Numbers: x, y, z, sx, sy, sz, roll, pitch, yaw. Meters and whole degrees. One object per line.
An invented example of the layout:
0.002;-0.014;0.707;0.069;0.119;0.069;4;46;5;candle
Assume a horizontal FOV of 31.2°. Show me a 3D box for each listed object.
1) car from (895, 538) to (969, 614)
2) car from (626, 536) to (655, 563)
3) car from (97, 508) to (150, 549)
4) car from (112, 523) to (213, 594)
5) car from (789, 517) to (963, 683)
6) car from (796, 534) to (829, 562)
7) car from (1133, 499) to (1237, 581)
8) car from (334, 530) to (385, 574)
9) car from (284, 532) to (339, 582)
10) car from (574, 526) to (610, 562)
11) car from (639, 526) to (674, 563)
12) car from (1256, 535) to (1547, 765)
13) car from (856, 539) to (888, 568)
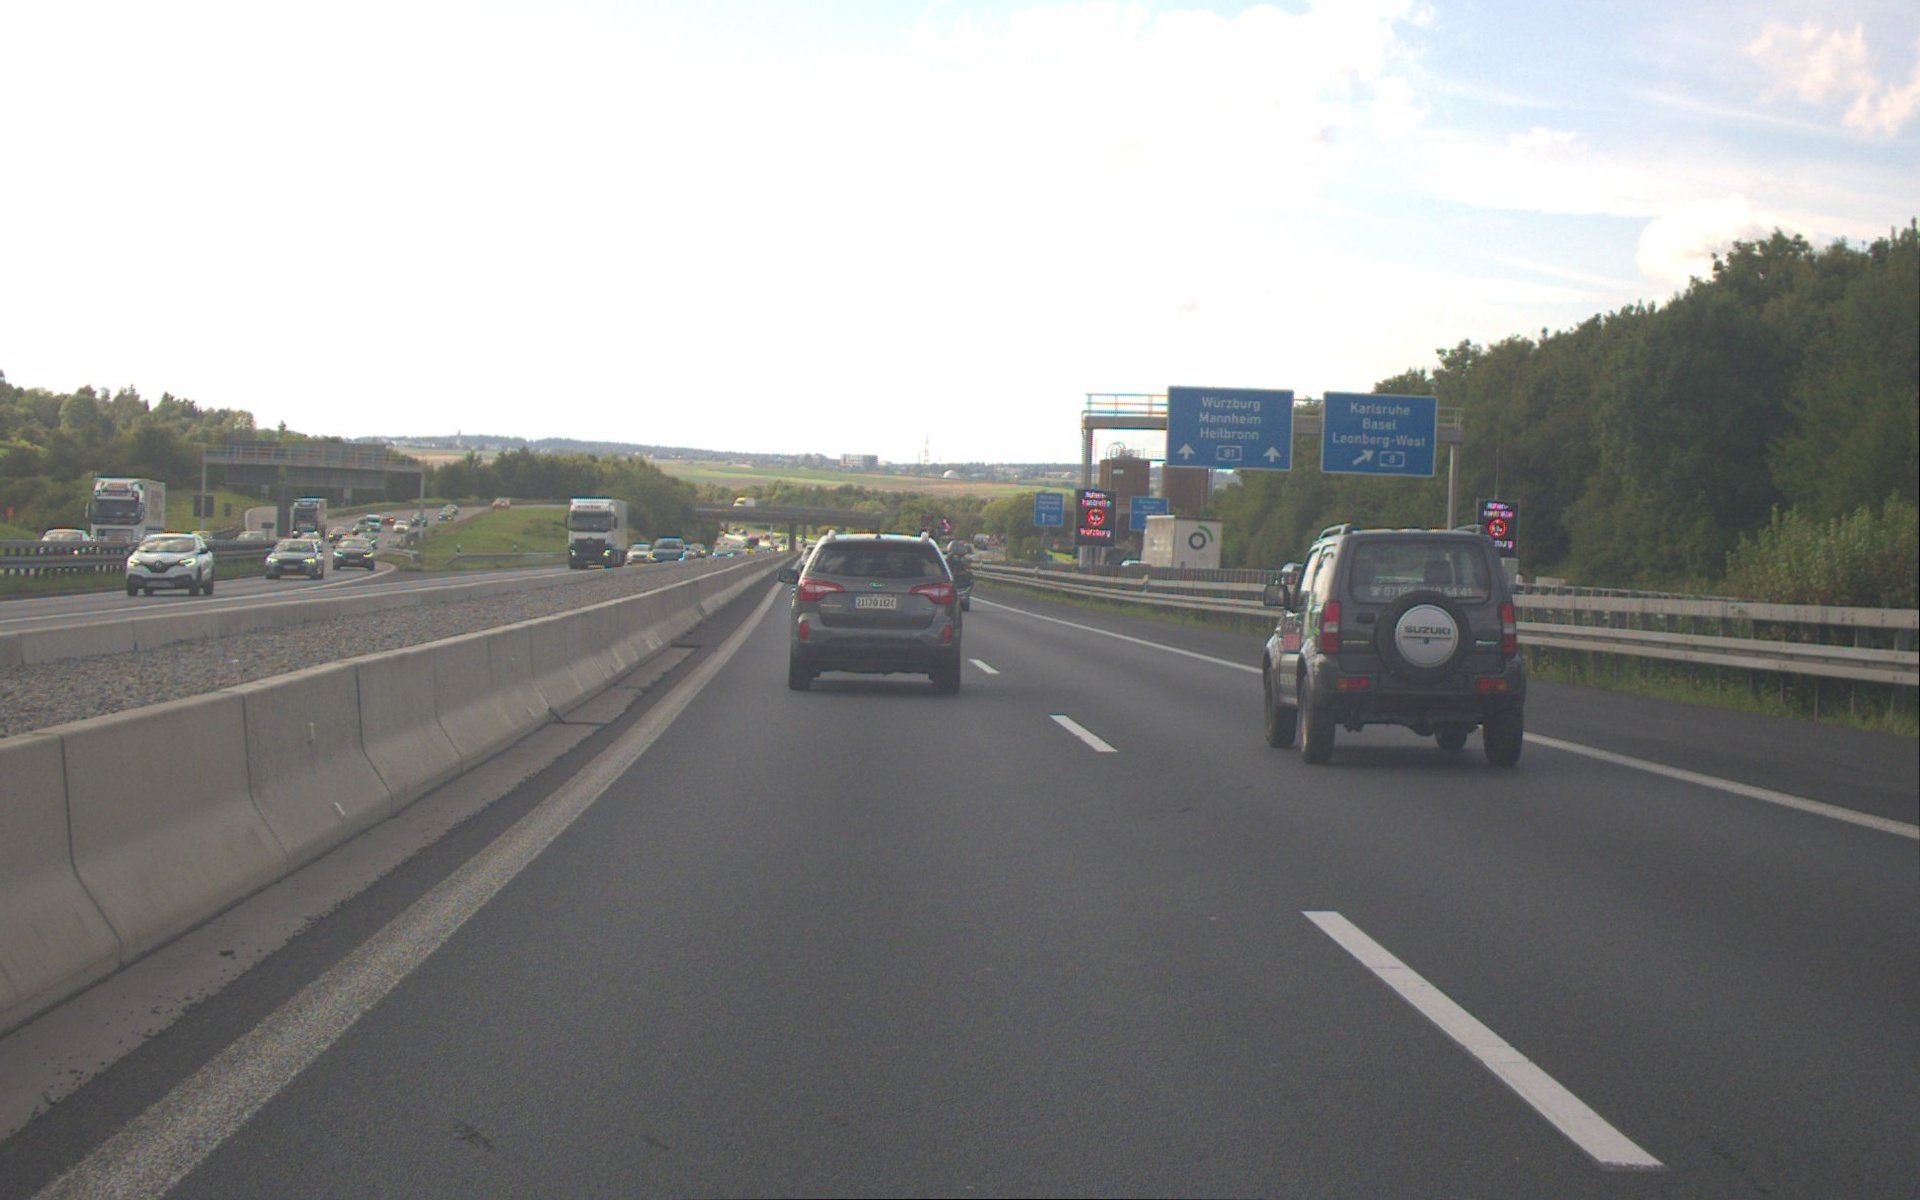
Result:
-0.834;-0.711;99.341;2.030;2.144;4.000;0;1;-2;car
-22.463;-3.557;241.619;1.993;1.884;4.273;0;1;-6;car
-42.055;-3.574;172.946;1.993;2.007;4.273;0;1;-6;car
-20.549;-1.078;88.772;1.993;1.784;4.273;0;1;-6;car
-0.892;-0.001;38.686;1.817;1.730;5.186;0;0;0;car
-9.529;-3.338;221.798;1.993;1.678;4.000;1;-1;-4;car
12.082;-3.237;185.630;4.728;4.251;11.405;1;1;-1;car
-27.846;-2.240;159.548;1.993;2.007;4.273;0;1;-6;car
-23.541;-1.576;124.969;1.607;1.783;4.273;0;1;-6;car
-20.761;-3.149;193.968;1.993;2.023;4.273;0;1;-6;car
-16.603;-3.036;187.830;1.819;2.007;4.148;0;1;-6;car
3.267;0.321;26.103;1.587;1.591;4.096;1;1;-1;car
-6.137;-3.233;240.296;1.993;1.922;4.000;1;-1;-5;car
